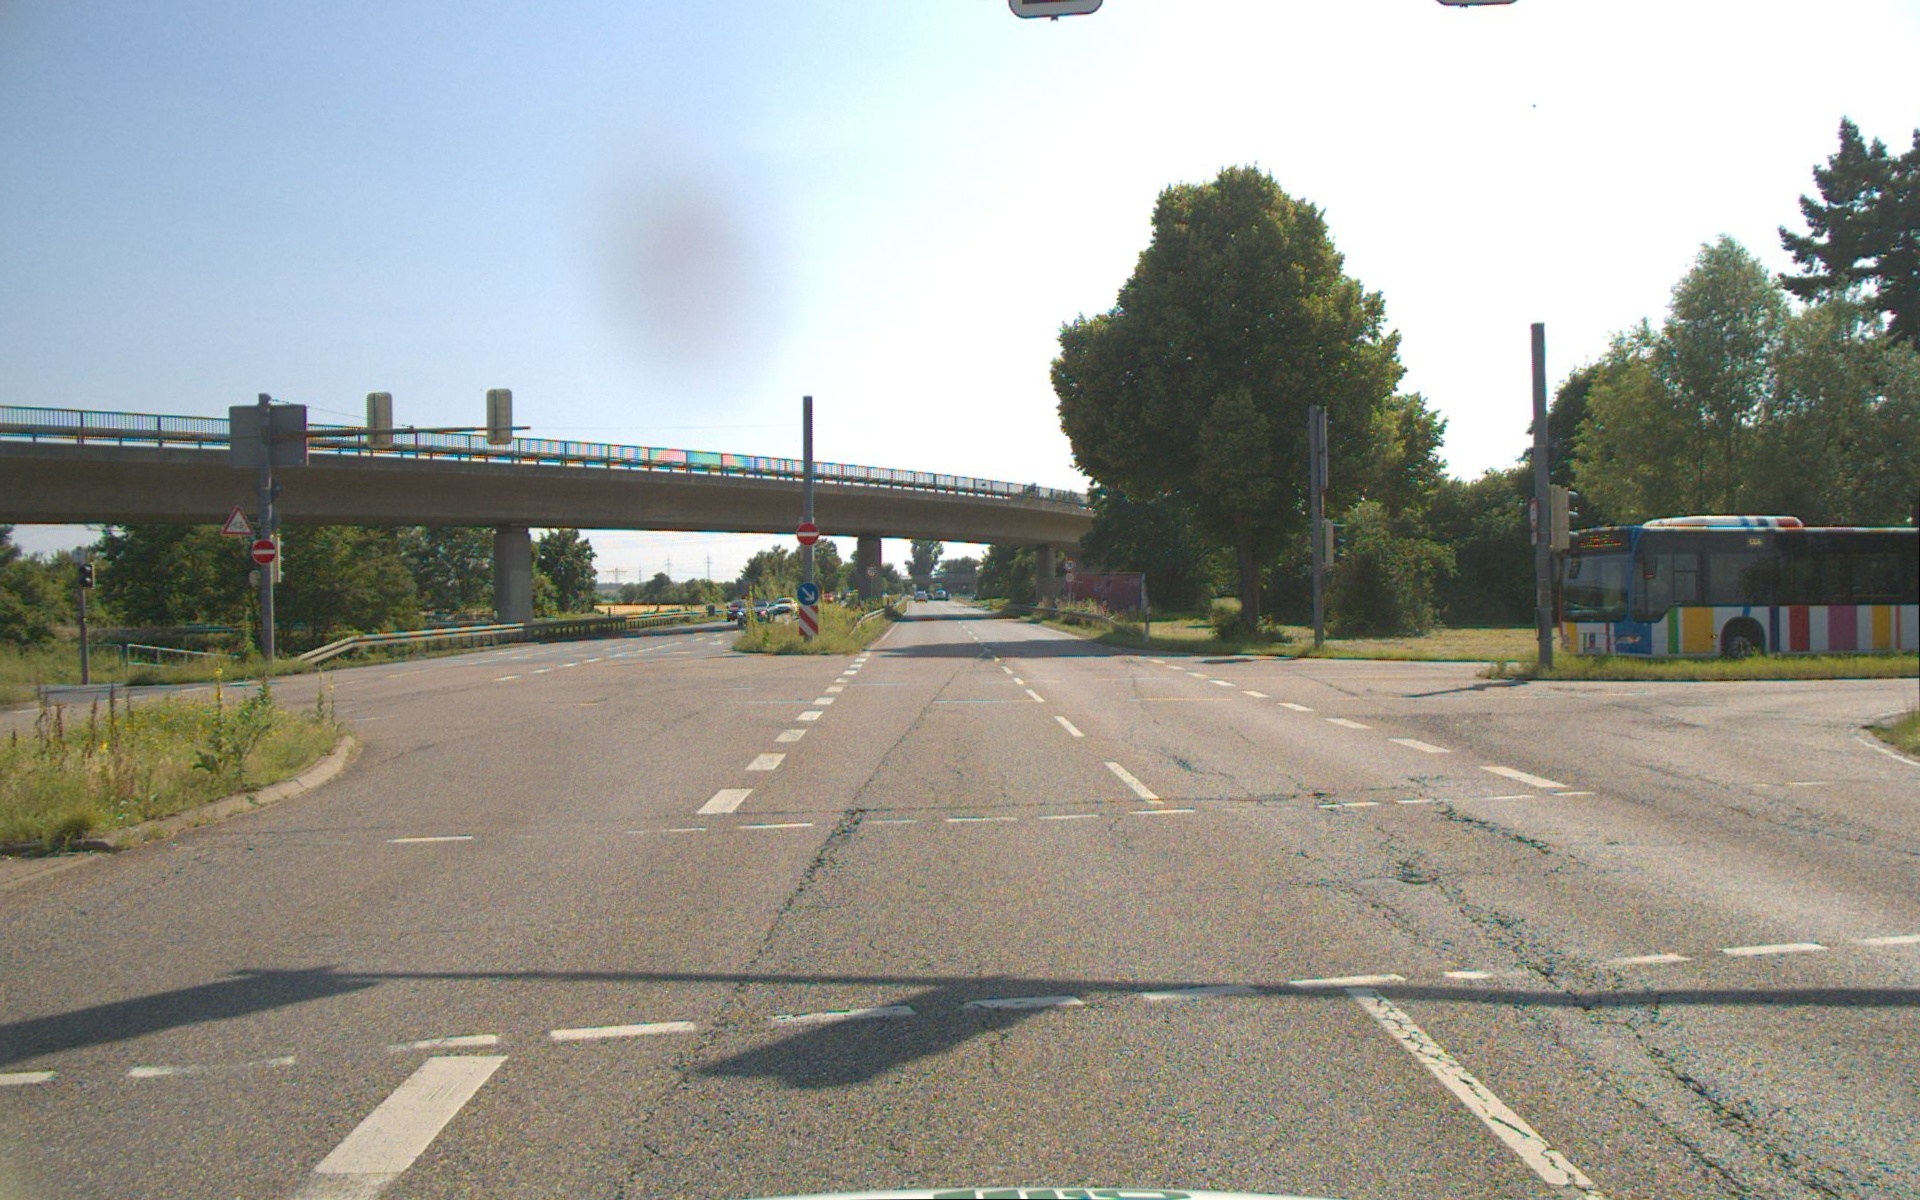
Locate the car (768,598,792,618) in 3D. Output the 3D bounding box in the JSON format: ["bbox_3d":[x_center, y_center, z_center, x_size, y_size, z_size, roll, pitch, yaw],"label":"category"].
[{"bbox_3d":[-15.574,0.676,143.399,1.754,1.656,3.999,-2,0,-2],"label":"car"}]

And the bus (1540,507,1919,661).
[{"bbox_3d":[18.453,-0.432,35.612,11.745,2.927,2.929,-2,0,-16],"label":"bus"}]

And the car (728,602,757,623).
[{"bbox_3d":[-15.749,0.875,119.636,1.607,1.409,4.239,-2,0,-2],"label":"car"}]

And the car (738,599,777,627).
[{"bbox_3d":[-11.925,0.741,97.724,1.819,1.473,4.239,-3,0,-2],"label":"car"}]

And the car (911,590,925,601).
[{"bbox_3d":[-6.019,-0.606,239.622,1.813,1.486,4.000,-4,0,0],"label":"car"}]
